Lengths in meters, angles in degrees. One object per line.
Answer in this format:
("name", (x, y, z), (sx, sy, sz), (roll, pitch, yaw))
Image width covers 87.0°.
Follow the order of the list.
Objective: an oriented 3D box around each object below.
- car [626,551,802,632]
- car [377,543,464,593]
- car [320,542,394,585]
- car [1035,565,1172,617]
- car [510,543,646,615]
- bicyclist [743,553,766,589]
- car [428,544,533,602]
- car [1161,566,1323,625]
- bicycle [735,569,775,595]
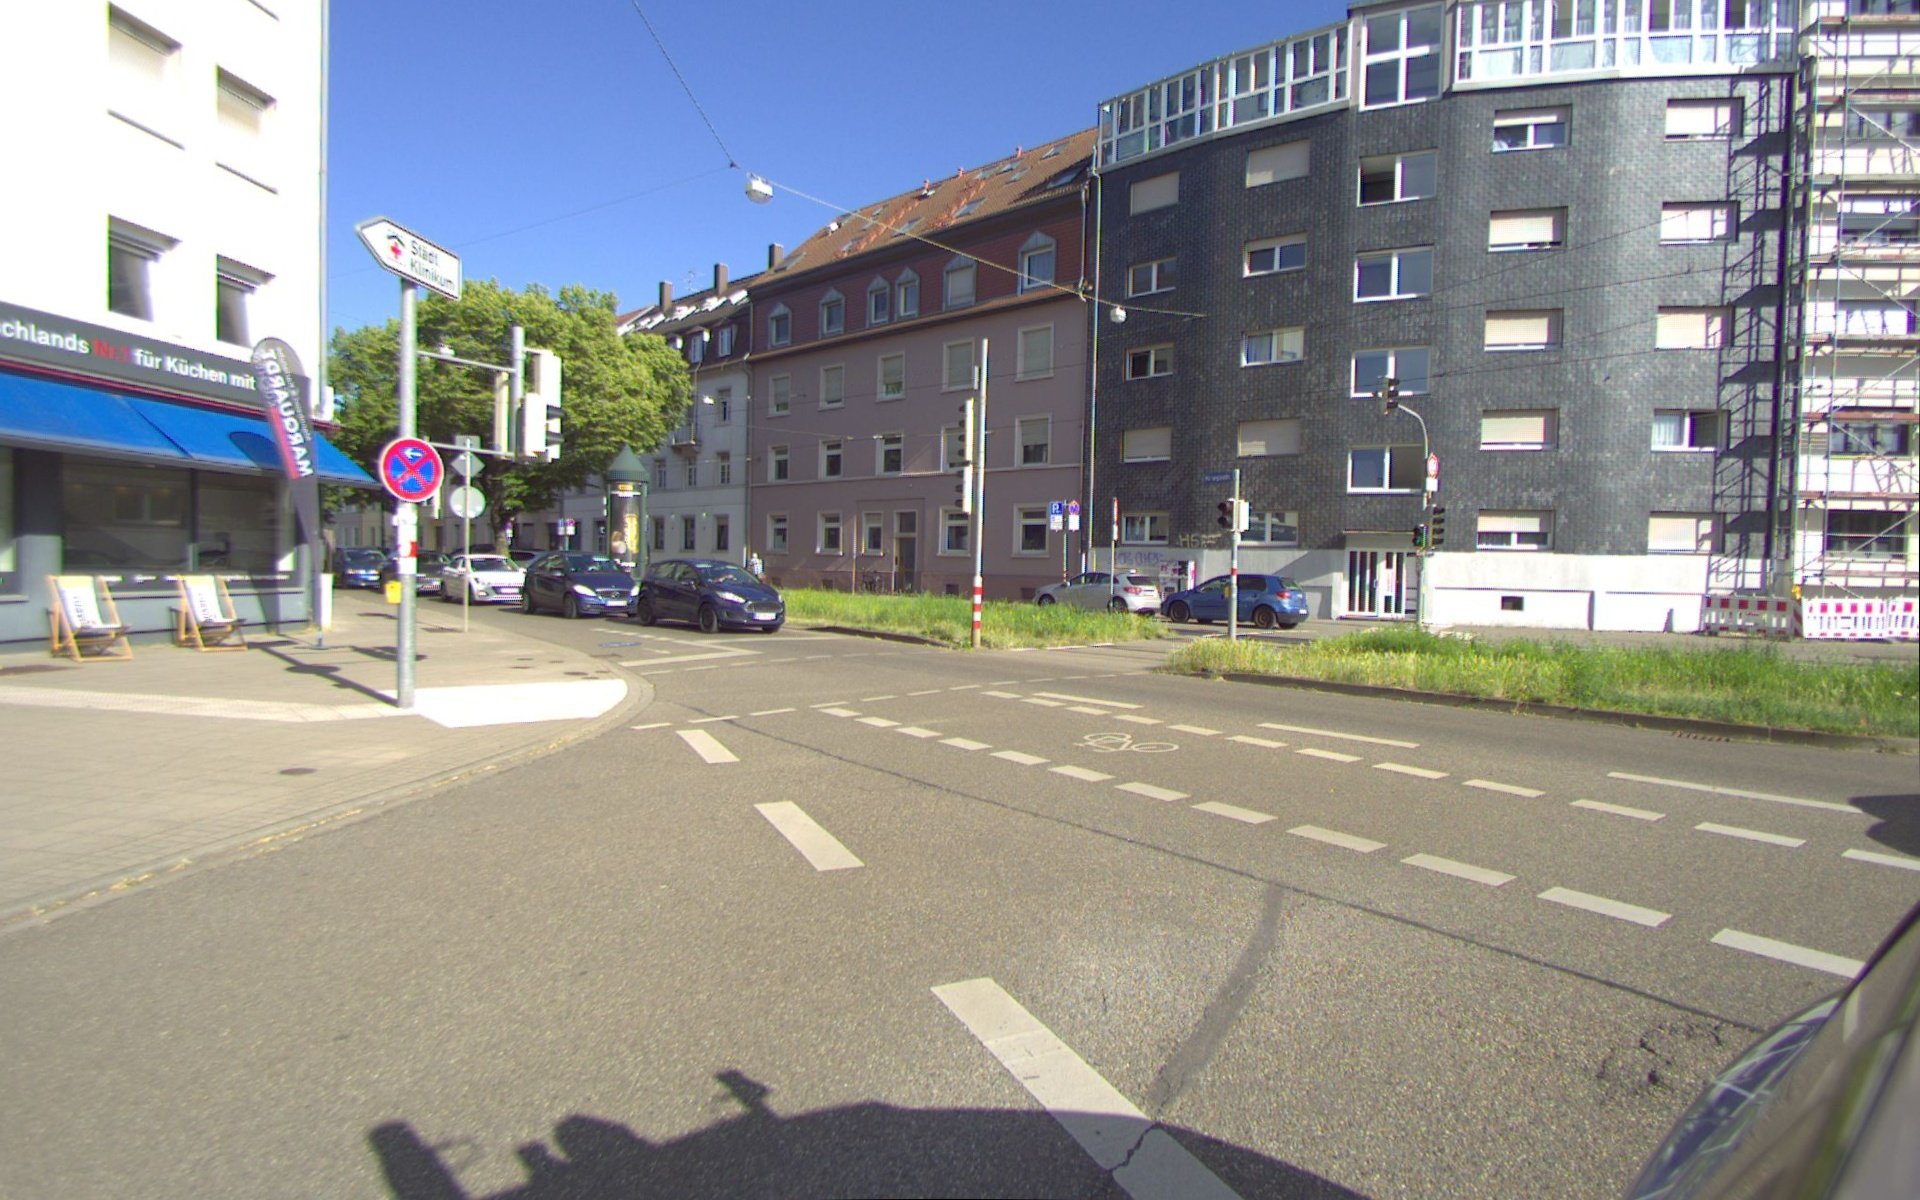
("car", (-5.138, -0.217, 20.869), (1.706, 1.471, 3.990), (1, 1, -44))
("car", (-18.514, -1.123, 34.663), (1.632, 1.600, 3.762), (0, 3, -44))
("car", (-23.407, -1.433, 39.222), (1.632, 1.600, 3.762), (0, 3, -44))
("car", (4.380, -0.312, 31.266), (3.988, 1.433, 1.662), (4, 3, 44))
("car", (-9.405, -0.565, 24.765), (1.632, 1.600, 3.990), (0, 3, -44))
("bicyclist", (-8.274, -1.166, 40.744), (0.802, 1.426, 0.502), (3, 2, 41))
("car", (-14.395, -0.839, 30.281), (1.632, 1.600, 3.990), (0, 3, -44))
("car", (7.731, -0.175, 27.970), (3.988, 1.433, 1.662), (4, 3, 44))
("bicycle", (-8.245, -0.734, 40.706), (1.990, 0.967, 0.499), (3, 3, 43))
